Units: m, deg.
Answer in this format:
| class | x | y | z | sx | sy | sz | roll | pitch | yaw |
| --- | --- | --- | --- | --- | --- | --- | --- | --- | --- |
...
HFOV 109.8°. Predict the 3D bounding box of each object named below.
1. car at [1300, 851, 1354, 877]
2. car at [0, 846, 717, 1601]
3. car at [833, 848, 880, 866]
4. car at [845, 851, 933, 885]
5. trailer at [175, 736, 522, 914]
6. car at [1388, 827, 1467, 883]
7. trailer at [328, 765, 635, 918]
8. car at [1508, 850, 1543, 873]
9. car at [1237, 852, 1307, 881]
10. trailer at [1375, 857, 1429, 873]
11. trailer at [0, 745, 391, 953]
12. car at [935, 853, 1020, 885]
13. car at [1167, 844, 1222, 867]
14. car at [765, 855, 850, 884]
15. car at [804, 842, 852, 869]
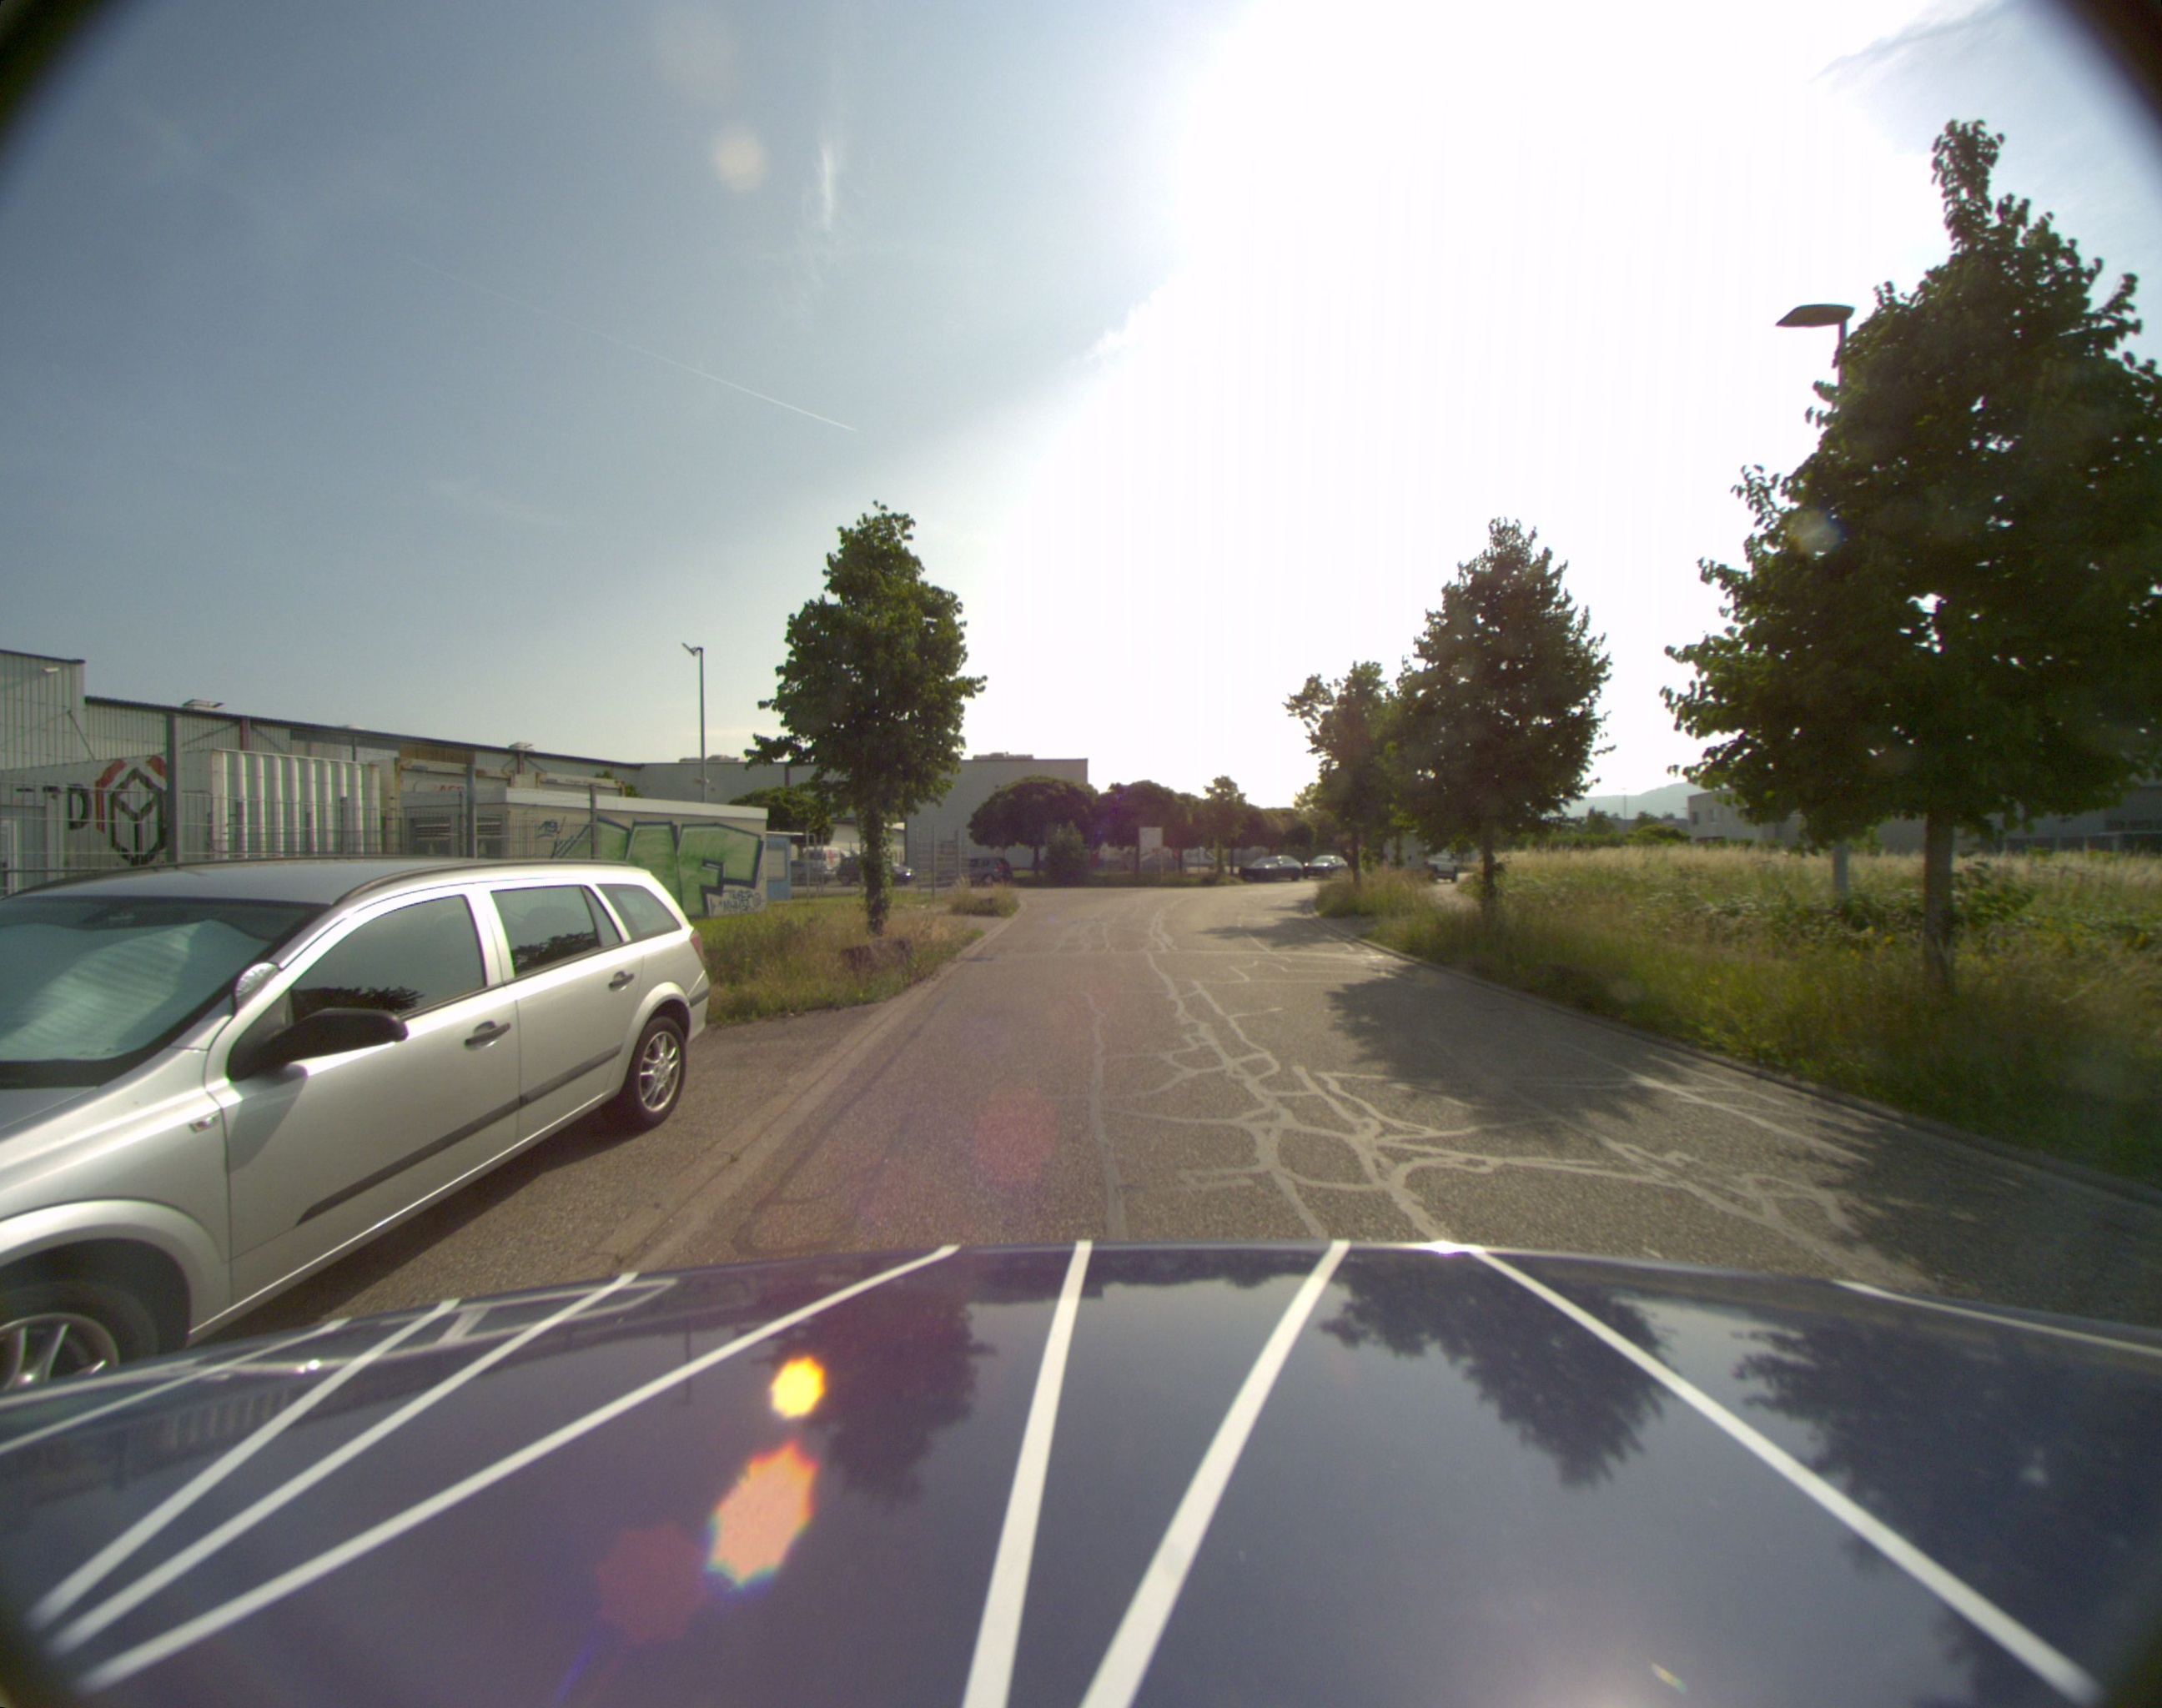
| class | x | y | z | sx | sy | sz | roll | pitch | yaw |
| --- | --- | --- | --- | --- | --- | --- | --- | --- | --- |
| car | 16.386 | 0.649 | 50.591 | 1.881 | 1.565 | 4.122 | 3 | 3 | 41 |
| car | -3.241 | 0.794 | 2.690 | 1.803 | 1.616 | 4.448 | 1 | 0 | -1 |
| car | -25.963 | 0.313 | 88.087 | 4.843 | 2.072 | 1.932 | 0 | 0 | 3 |
| car | -10.375 | 0.780 | 41.044 | 4.259 | 1.616 | 1.881 | -3 | -1 | 20 |
| trailer | -18.577 | -0.629 | 19.250 | 8.544 | 3.871 | 2.780 | 0 | 1 | 20 |
| car | 17.675 | 0.057 | 38.569 | 2.103 | 2.579 | 6.518 | -1 | 0 | 39 |
| trailer | -17.458 | -0.301 | 22.102 | 8.544 | 3.872 | 2.779 | -1 | 2 | 20 |
| car | 33.565 | 0.588 | 57.365 | 1.598 | 1.641 | 3.652 | -2 | -1 | 41 |
| car | 11.523 | 0.698 | 45.503 | 1.881 | 1.565 | 5.129 | 2 | 2 | 42 |
| trailer | 26.830 | 0.897 | 63.384 | 1.939 | 1.228 | 7.467 | 2 | 1 | 40 |
| trailer | -19.415 | 0.001 | 16.300 | 8.742 | 3.739 | 2.794 | -1 | 0 | 18 |
| car | -5.382 | 0.801 | 39.546 | 3.953 | 1.515 | 1.729 | -1 | 3 | 18 |
| car | 13.431 | 0.209 | 90.264 | 6.268 | 2.633 | 2.213 | 0 | 0 | 0 |
| car | -15.566 | 0.906 | 43.236 | 4.481 | 1.509 | 1.730 | -1 | 3 | 22 |
| car | -24.102 | 0.102 | 72.621 | 2.173 | 2.503 | 6.700 | 0 | 1 | 1 |
